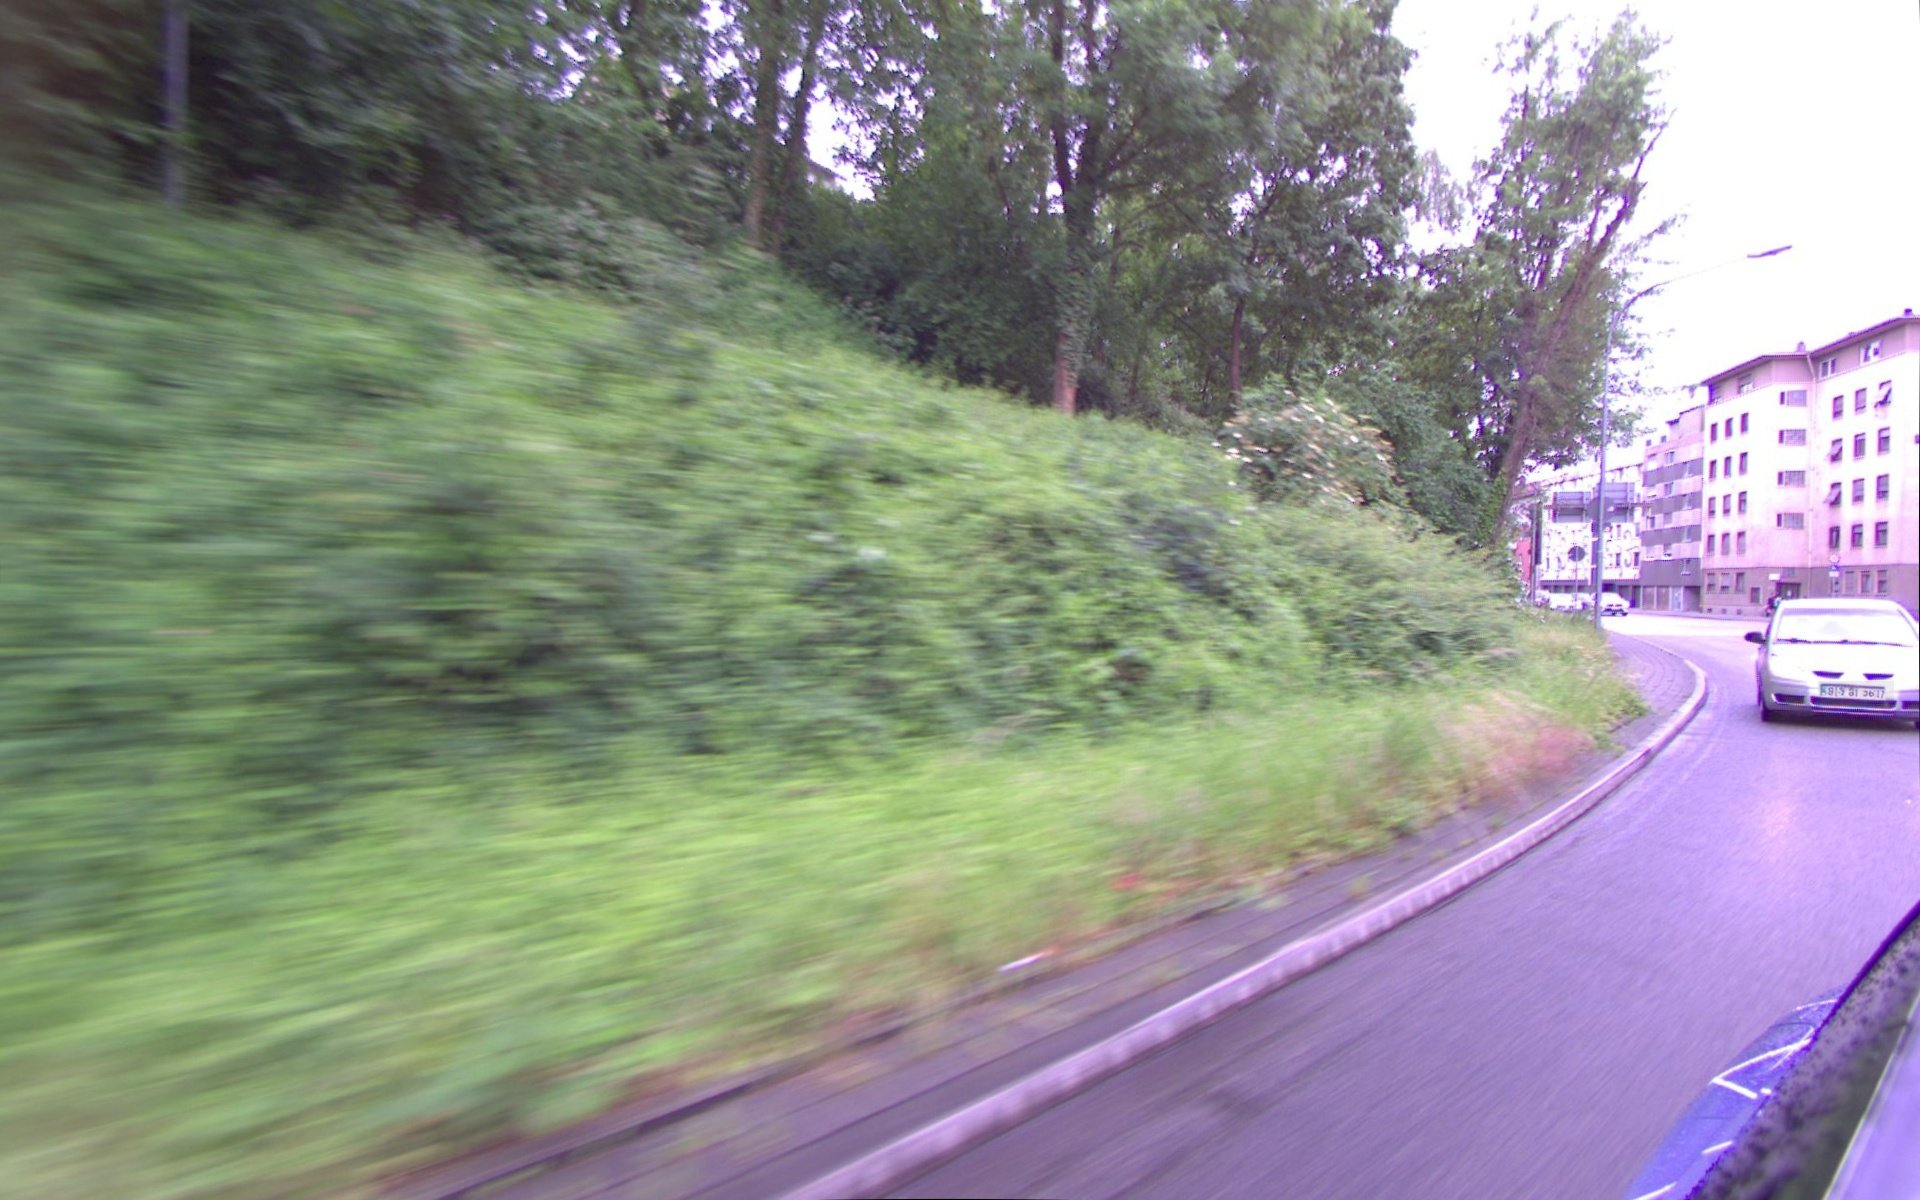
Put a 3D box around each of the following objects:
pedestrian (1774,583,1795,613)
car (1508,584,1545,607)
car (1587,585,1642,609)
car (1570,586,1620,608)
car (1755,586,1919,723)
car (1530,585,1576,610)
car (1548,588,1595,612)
[{"bbox_3d":[55.553,-0.141,68.226,0.799,2.039,0.854,0,-1,16],"label":"pedestrian"},{"bbox_3d":[43.581,-0.361,77.966,1.659,1.677,3.979,1,1,17],"label":"car"},{"bbox_3d":[43.297,-0.244,67.027,1.854,1.496,4.530,1,1,17],"label":"car"},{"bbox_3d":[44.884,-0.229,71.625,1.895,1.496,4.593,1,1,18],"label":"car"},{"bbox_3d":[11.640,0.616,13.259,1.743,1.538,3.948,-1,0,36],"label":"car"},{"bbox_3d":[40.371,-0.178,68.991,1.976,1.637,4.588,0,1,21],"label":"car"},{"bbox_3d":[38.097,-0.011,63.131,1.799,1.426,4.202,0,1,22],"label":"car"}]
